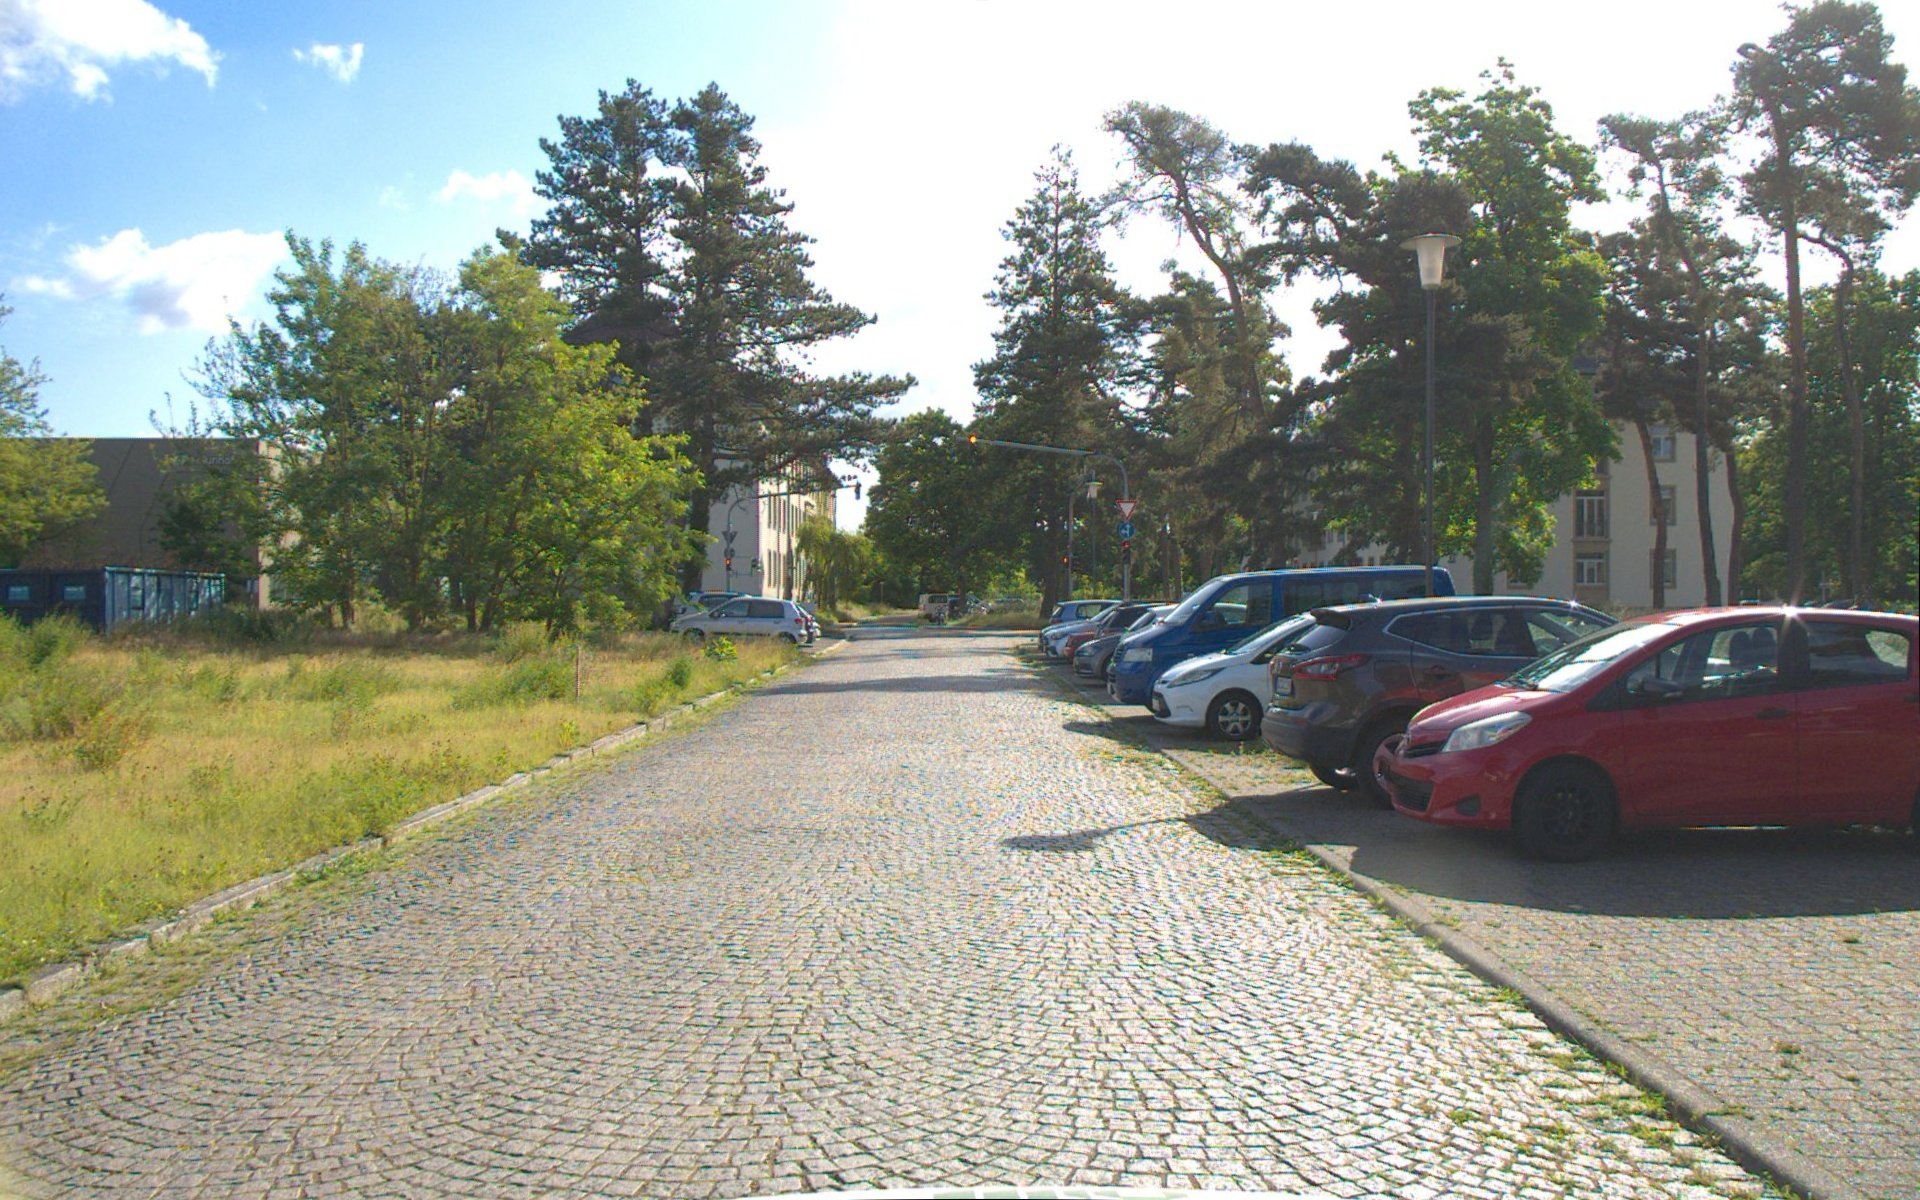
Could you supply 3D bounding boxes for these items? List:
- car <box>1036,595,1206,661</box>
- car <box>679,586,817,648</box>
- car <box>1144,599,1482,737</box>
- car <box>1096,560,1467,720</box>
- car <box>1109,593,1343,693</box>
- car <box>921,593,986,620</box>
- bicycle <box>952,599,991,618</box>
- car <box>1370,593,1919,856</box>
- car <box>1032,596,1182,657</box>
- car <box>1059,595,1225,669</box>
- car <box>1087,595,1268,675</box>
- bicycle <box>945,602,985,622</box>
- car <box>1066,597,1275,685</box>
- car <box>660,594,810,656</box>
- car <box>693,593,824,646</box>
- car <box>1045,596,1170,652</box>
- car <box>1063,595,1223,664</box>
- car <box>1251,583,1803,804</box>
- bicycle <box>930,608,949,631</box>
[{"bbox_3d":[3.922,0.673,40.679,3.955,1.556,1.644,0,0,-5],"label":"car"},{"bbox_3d":[-6.441,0.503,50.522,3.907,1.629,1.999,3,0,-2],"label":"car"},{"bbox_3d":[4.152,0.774,19.788,3.645,1.514,1.644,-1,0,-3],"label":"car"},{"bbox_3d":[4.275,0.501,22.470,4.584,2.049,2.082,0,0,-4],"label":"car"},{"bbox_3d":[4.390,0.690,27.649,3.619,1.491,1.645,-2,0,0],"label":"car"},{"bbox_3d":[-0.473,0.456,112.479,4.390,1.758,1.999,1,0,-2],"label":"car"},{"bbox_3d":[0.681,0.489,96.476,2.134,1.119,0.805,0,0,-11],"label":"bicycle"},{"bbox_3d":[4.707,0.736,10.713,3.686,1.557,1.645,0,0,-1],"label":"car"},{"bbox_3d":[3.829,0.689,43.448,3.758,1.556,1.645,0,0,-2],"label":"car"},{"bbox_3d":[3.936,0.684,36.139,3.408,1.556,1.645,0,0,-2],"label":"car"},{"bbox_3d":[4.351,0.693,33.455,3.408,1.556,1.645,0,0,-2],"label":"car"},{"bbox_3d":[0.285,0.688,95.020,2.134,1.119,0.805,0,0,-11],"label":"bicycle"},{"bbox_3d":[3.839,0.733,30.527,3.601,1.493,1.645,-1,0,-2],"label":"car"},{"bbox_3d":[-6.083,0.662,45.138,3.908,1.628,1.999,0,0,-4],"label":"car"},{"bbox_3d":[-6.408,0.600,52.923,3.906,1.478,1.999,3,0,-2],"label":"car"},{"bbox_3d":[4.086,0.658,46.093,3.276,1.508,1.645,0,0,-2],"label":"car"},{"bbox_3d":[4.234,0.678,38.605,3.530,1.556,1.645,0,0,-2],"label":"car"},{"bbox_3d":[4.452,0.697,13.375,3.857,1.650,1.771,0,0,-2],"label":"car"},{"bbox_3d":[-1.135,1.069,91.533,0.789,1.190,2.177,-2,0,-7],"label":"bicycle"}]
